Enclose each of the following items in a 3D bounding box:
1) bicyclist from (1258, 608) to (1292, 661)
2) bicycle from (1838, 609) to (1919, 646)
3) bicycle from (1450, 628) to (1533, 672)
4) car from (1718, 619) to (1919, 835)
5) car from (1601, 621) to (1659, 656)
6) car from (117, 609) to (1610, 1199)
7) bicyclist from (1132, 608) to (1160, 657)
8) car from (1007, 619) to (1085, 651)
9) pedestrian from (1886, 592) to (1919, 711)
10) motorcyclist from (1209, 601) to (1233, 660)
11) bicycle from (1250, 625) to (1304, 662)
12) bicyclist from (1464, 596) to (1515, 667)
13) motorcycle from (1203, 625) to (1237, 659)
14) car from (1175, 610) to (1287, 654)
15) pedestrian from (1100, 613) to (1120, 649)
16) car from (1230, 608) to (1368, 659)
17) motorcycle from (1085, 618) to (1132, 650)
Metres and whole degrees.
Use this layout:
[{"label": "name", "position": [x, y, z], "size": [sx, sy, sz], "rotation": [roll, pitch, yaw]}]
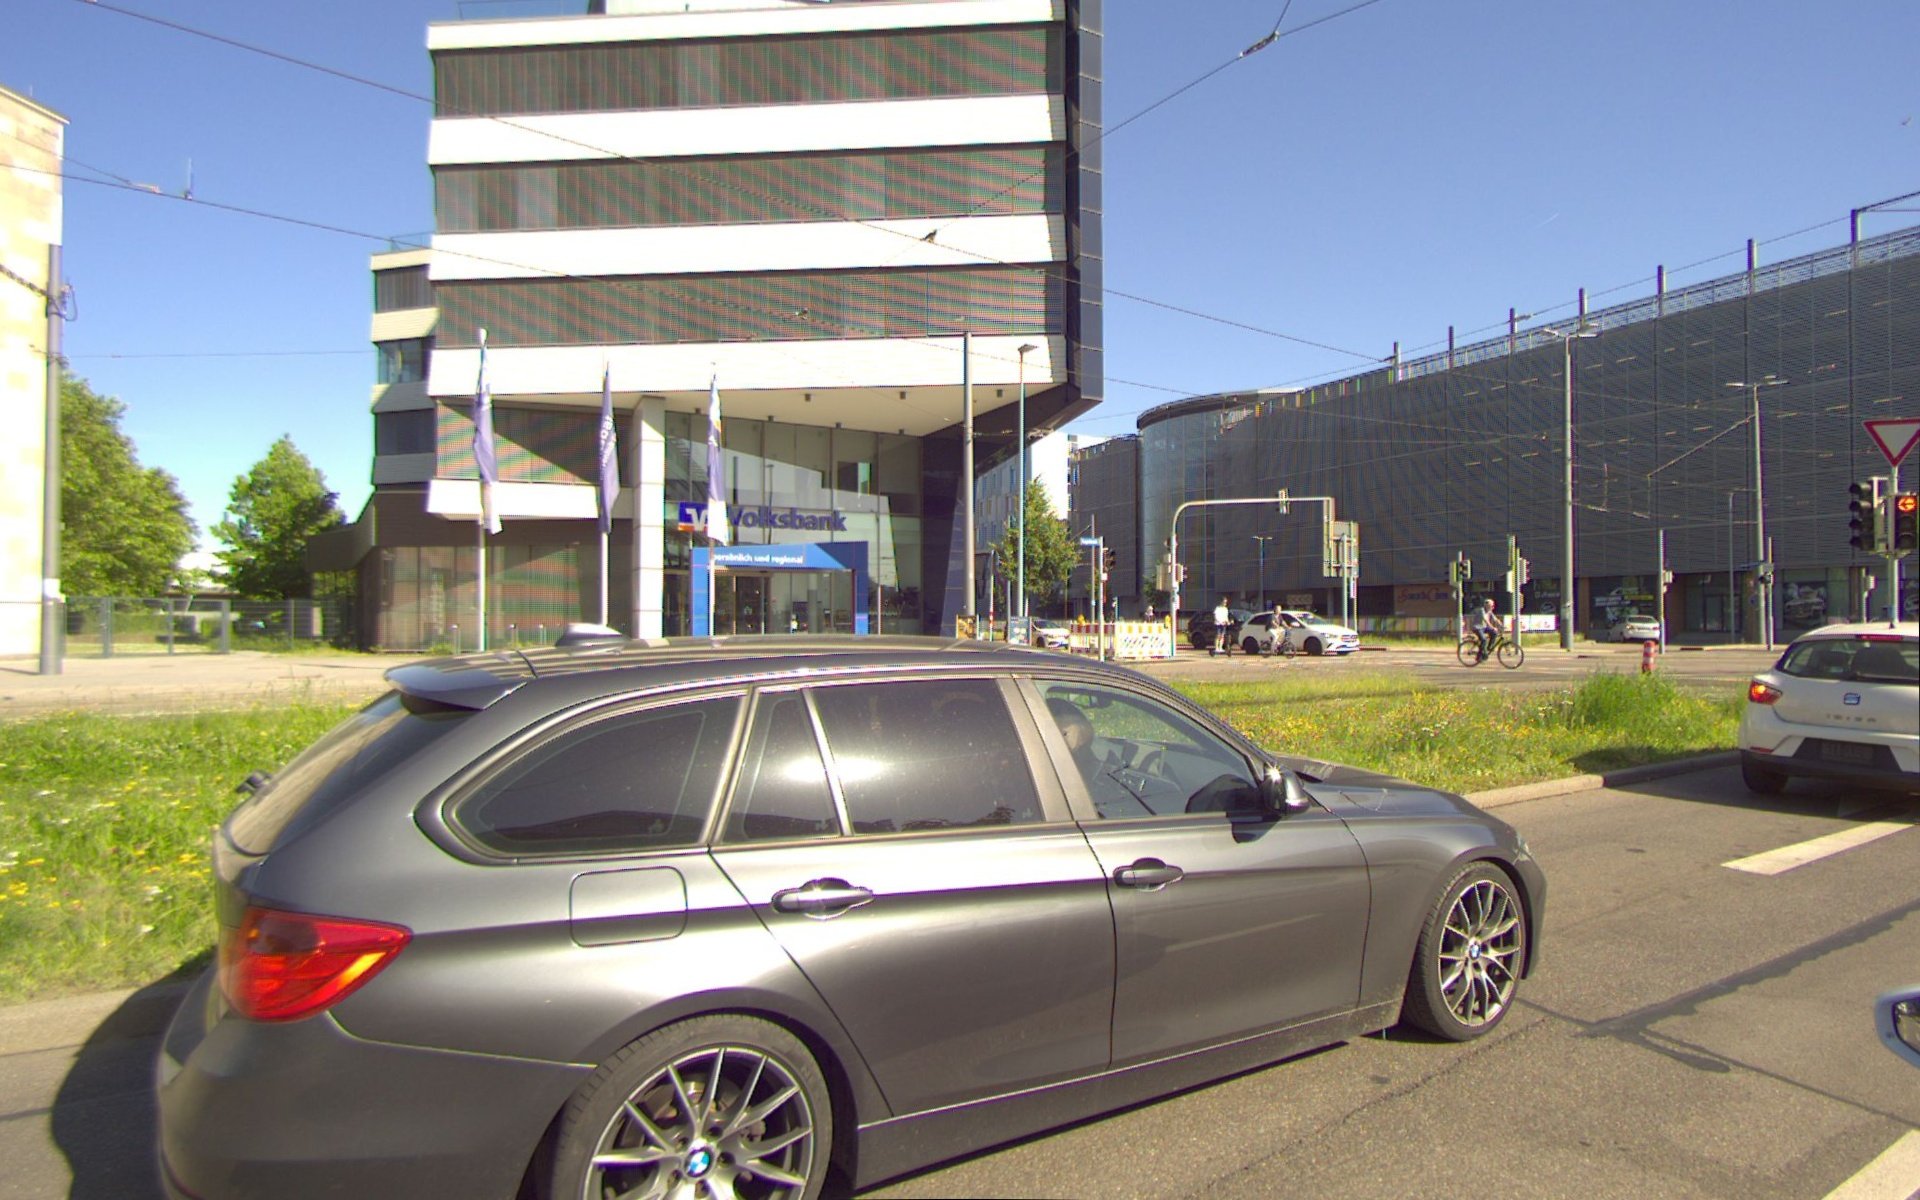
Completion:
[{"label": "bicyclist", "position": [10.203, 1.116, 32.549], "size": [0.683, 1.670, 0.778], "rotation": [1, -1, -33]}, {"label": "bicycle", "position": [52.867, 1.532, 57.298], "size": [1.314, 2.040, 3.968], "rotation": [0, 0, -30]}, {"label": "bicycle", "position": [14.376, 1.341, 27.224], "size": [0.844, 1.131, 1.820], "rotation": [1, -1, -30]}, {"label": "car", "position": [8.086, 0.924, 8.315], "size": [3.739, 1.442, 1.623], "rotation": [1, 1, -32]}, {"label": "car", "position": [37.249, 2.111, 55.914], "size": [1.723, 1.818, 4.000], "rotation": [1, 0, 20]}, {"label": "car", "position": [0.153, 0.802, 3.436], "size": [4.417, 1.442, 1.725], "rotation": [1, 1, -32]}, {"label": "bicyclist", "position": [7.079, 1.229, 38.250], "size": [0.755, 1.812, 0.758], "rotation": [1, -1, -35]}, {"label": "car", "position": [4.102, 1.648, 48.648], "size": [1.889, 1.483, 4.061], "rotation": [1, -1, -28]}, {"label": "pedestrian", "position": [14.305, 0.751, 14.750], "size": [0.704, 1.730, 0.881], "rotation": [1, -1, -31]}, {"label": "motorcyclist", "position": [9.024, 1.047, 34.748], "size": [0.492, 2.040, 0.624], "rotation": [0, -1, -31]}, {"label": "bicycle", "position": [10.248, 1.386, 32.511], "size": [0.727, 1.121, 1.567], "rotation": [1, 0, -33]}, {"label": "bicyclist", "position": [14.360, 0.857, 27.241], "size": [0.844, 1.884, 0.897], "rotation": [1, -1, -31]}, {"label": "motorcycle", "position": [8.997, 1.443, 34.784], "size": [0.478, 1.136, 1.180], "rotation": [0, -1, -31]}, {"label": "car", "position": [11.351, 1.293, 42.317], "size": [1.818, 1.741, 4.612], "rotation": [-1, 0, -31]}, {"label": "pedestrian", "position": [7.268, 1.495, 48.752], "size": [0.657, 1.699, 0.740], "rotation": [1, 0, -32]}, {"label": "car", "position": [11.854, 1.154, 35.408], "size": [1.820, 1.656, 4.462], "rotation": [-1, -1, -34]}, {"label": "motorcycle", "position": [7.186, 1.633, 48.883], "size": [0.905, 1.438, 2.429], "rotation": [1, 0, -32]}]
